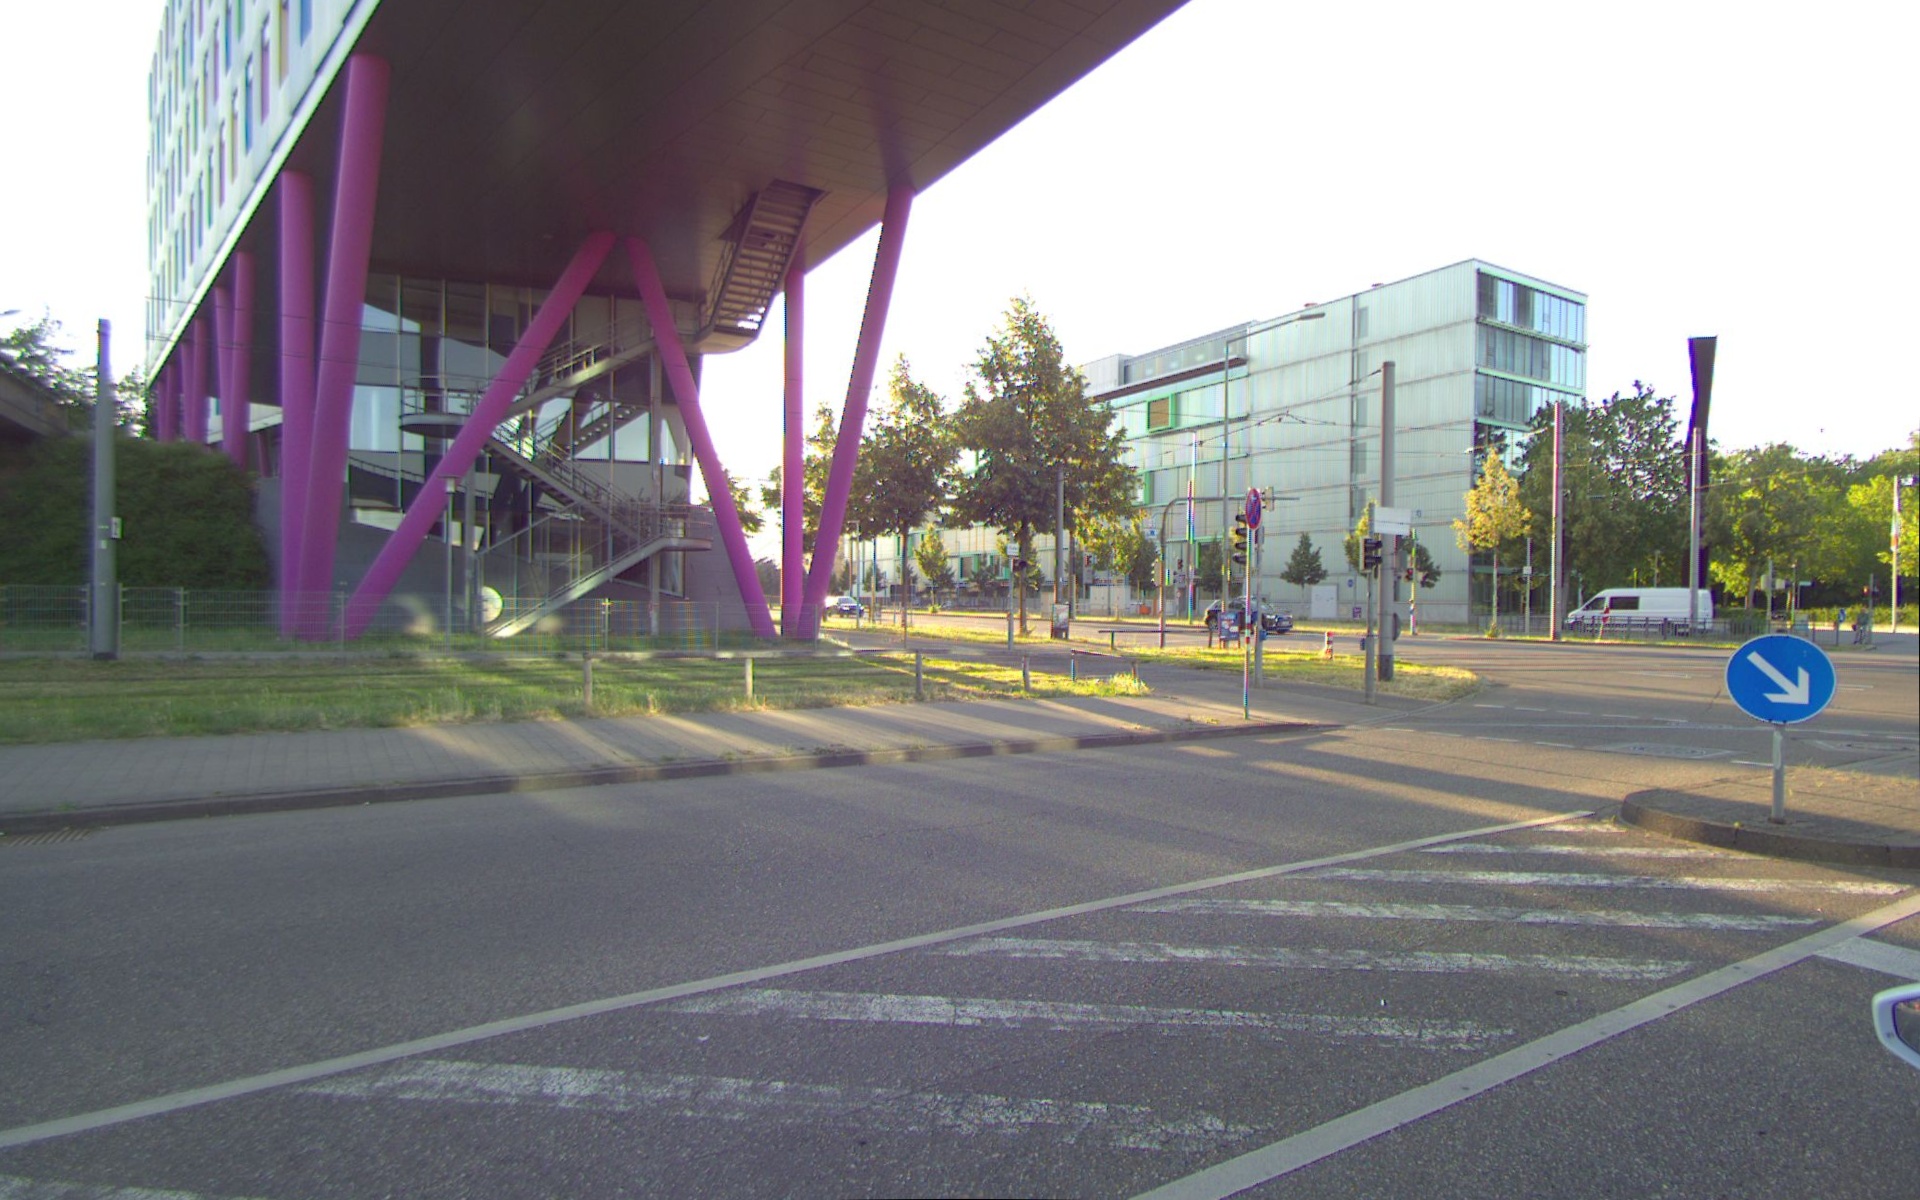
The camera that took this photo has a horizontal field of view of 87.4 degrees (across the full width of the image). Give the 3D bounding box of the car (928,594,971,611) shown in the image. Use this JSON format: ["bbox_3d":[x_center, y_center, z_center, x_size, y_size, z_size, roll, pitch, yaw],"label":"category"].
[{"bbox_3d":[-1.086,0.214,101.553,1.977,1.572,5.200,2,-1,-30],"label":"car"}]

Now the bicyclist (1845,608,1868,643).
[{"bbox_3d":[45.106,1.262,50.548,0.741,1.732,0.916,1,0,38],"label":"bicyclist"}]

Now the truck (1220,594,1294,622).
[{"bbox_3d":[22.725,0.599,77.054,2.044,2.082,5.528,1,0,-31],"label":"truck"}]

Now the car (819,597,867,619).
[{"bbox_3d":[-8.687,0.567,74.150,1.973,1.572,5.210,2,-1,-24],"label":"car"}]

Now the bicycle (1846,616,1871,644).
[{"bbox_3d":[45.215,1.491,50.556,0.721,1.359,2.680,1,0,37],"label":"bicycle"}]

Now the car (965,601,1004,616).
[{"bbox_3d":[2.737,0.916,112.771,1.977,1.572,5.075,2,-1,-30],"label":"car"}]

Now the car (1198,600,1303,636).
[{"bbox_3d":[13.298,0.800,46.195,1.968,1.577,4.448,1,0,-34],"label":"car"}]

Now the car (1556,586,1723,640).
[{"bbox_3d":[36.362,0.642,54.028,2.778,2.671,6.887,2,-1,-29],"label":"car"}]

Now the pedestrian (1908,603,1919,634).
[{"bbox_3d":[55.675,1.080,58.129,0.813,1.767,0.863,1,0,7],"label":"pedestrian"}]
